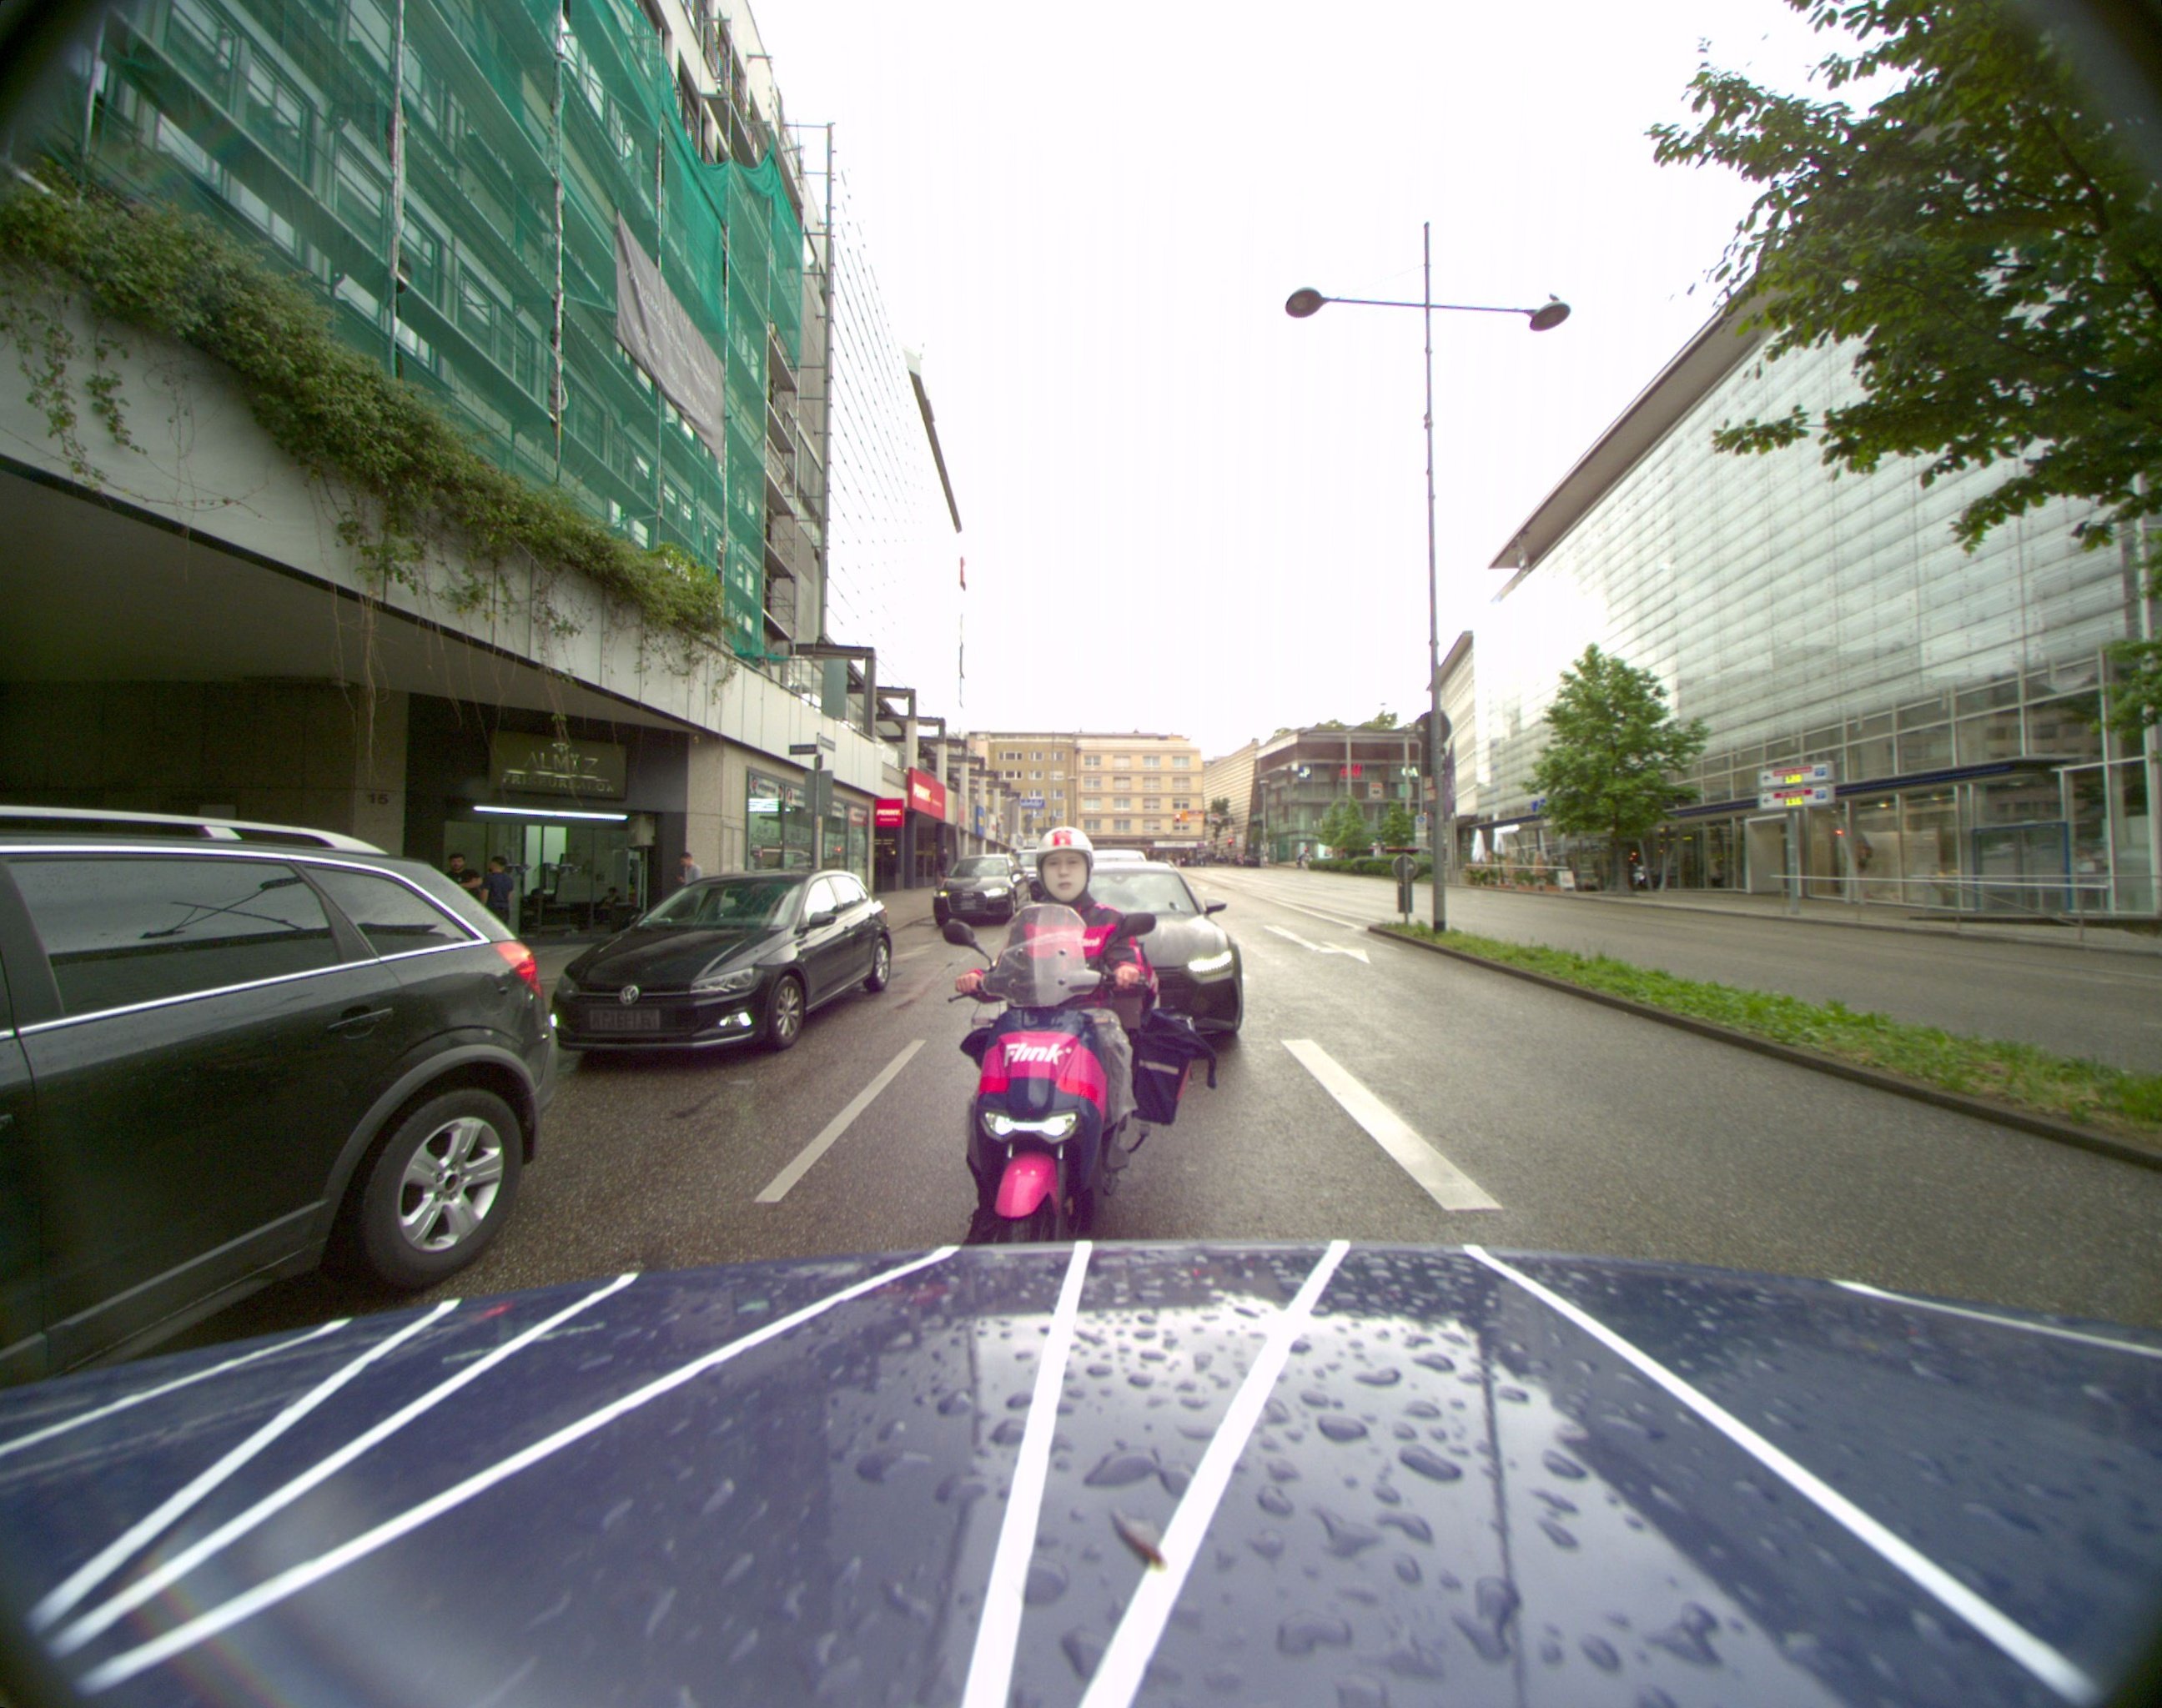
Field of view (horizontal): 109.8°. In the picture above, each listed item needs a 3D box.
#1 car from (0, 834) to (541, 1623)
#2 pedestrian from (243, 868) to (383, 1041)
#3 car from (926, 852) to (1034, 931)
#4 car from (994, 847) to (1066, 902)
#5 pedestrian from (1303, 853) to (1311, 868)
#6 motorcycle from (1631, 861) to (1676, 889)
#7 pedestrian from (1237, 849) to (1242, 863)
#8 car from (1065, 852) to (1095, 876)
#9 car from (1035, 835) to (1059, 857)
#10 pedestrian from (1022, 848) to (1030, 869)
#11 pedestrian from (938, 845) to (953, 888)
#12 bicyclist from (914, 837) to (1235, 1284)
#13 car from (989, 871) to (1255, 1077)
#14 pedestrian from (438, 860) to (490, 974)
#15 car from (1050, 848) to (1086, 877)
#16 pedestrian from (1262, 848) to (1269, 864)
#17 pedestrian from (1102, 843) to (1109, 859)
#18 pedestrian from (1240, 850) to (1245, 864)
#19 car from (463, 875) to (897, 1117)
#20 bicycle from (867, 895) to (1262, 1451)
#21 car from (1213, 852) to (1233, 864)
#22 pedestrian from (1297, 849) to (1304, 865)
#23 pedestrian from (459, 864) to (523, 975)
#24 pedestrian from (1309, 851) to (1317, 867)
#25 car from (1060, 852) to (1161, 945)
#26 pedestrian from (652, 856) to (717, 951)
[{"bbox_3d":[-3.321,0.855,1.255,1.764,1.755,4.164,-2,0,1],"label":"car"},{"bbox_3d":[-8.477,1.067,8.419,0.743,1.805,0.773,0,1,1],"label":"pedestrian"},{"bbox_3d":[-2.287,0.795,18.344,1.841,1.598,4.164,-2,1,2],"label":"car"},{"bbox_3d":[-1.658,0.673,26.109,1.988,1.696,4.165,-2,-1,2],"label":"car"},{"bbox_3d":[24.397,0.661,81.913,0.633,1.620,0.602,0,1,2],"label":"pedestrian"},{"bbox_3d":[28.060,1.033,37.254,1.707,1.319,0.620,0,1,1],"label":"motorcycle"},{"bbox_3d":[18.094,0.198,86.904,0.428,1.620,0.602,1,1,3],"label":"pedestrian"},{"bbox_3d":[-0.021,0.728,57.495,1.988,1.696,4.165,-2,-1,2],"label":"car"},{"bbox_3d":[-3.188,-0.804,71.909,1.605,2.002,3.400,-2,1,7],"label":"car"},{"bbox_3d":[-3.868,0.296,53.368,0.510,1.492,0.579,0,2,0],"label":"pedestrian"},{"bbox_3d":[-5.384,0.491,30.162,0.510,1.669,0.579,0,2,0],"label":"pedestrian"},{"bbox_3d":[-0.014,0.717,3.051,1.063,1.534,0.825,-2,2,0],"label":"bicyclist"},{"bbox_3d":[0.383,0.928,7.607,1.890,1.391,4.165,-2,-1,2],"label":"car"},{"bbox_3d":[-9.555,0.951,11.767,0.466,1.698,0.484,0,2,42],"label":"pedestrian"},{"bbox_3d":[-0.756,0.518,47.169,1.988,1.696,4.165,-2,-1,2],"label":"car"},{"bbox_3d":[20.804,0.212,85.512,0.626,1.764,0.689,-2,2,7],"label":"pedestrian"},{"bbox_3d":[2.461,-0.297,76.780,0.634,1.620,0.602,0,1,-1],"label":"pedestrian"},{"bbox_3d":[17.976,0.331,84.407,0.428,1.620,0.602,1,1,5],"label":"pedestrian"},{"bbox_3d":[-3.194,1.013,7.167,1.759,1.495,4.164,-2,-1,1],"label":"car"},{"bbox_3d":[-0.026,0.956,3.541,1.034,1.279,2.948,-2,1,1],"label":"bicycle"},{"bbox_3d":[23.781,0.696,127.786,2.000,2.002,4.584,0,1,-7],"label":"car"},{"bbox_3d":[24.378,0.355,84.284,0.626,1.764,0.689,-2,2,5],"label":"pedestrian"},{"bbox_3d":[-8.841,0.954,11.406,0.640,1.586,0.576,-3,2,-32],"label":"pedestrian"},{"bbox_3d":[24.649,0.549,80.710,0.633,1.620,0.602,1,1,4],"label":"pedestrian"},{"bbox_3d":[0.594,0.766,15.133,1.675,1.520,4.164,-2,1,2],"label":"car"},{"bbox_3d":[-7.144,0.878,13.704,0.637,1.633,0.735,-1,2,29],"label":"pedestrian"}]
